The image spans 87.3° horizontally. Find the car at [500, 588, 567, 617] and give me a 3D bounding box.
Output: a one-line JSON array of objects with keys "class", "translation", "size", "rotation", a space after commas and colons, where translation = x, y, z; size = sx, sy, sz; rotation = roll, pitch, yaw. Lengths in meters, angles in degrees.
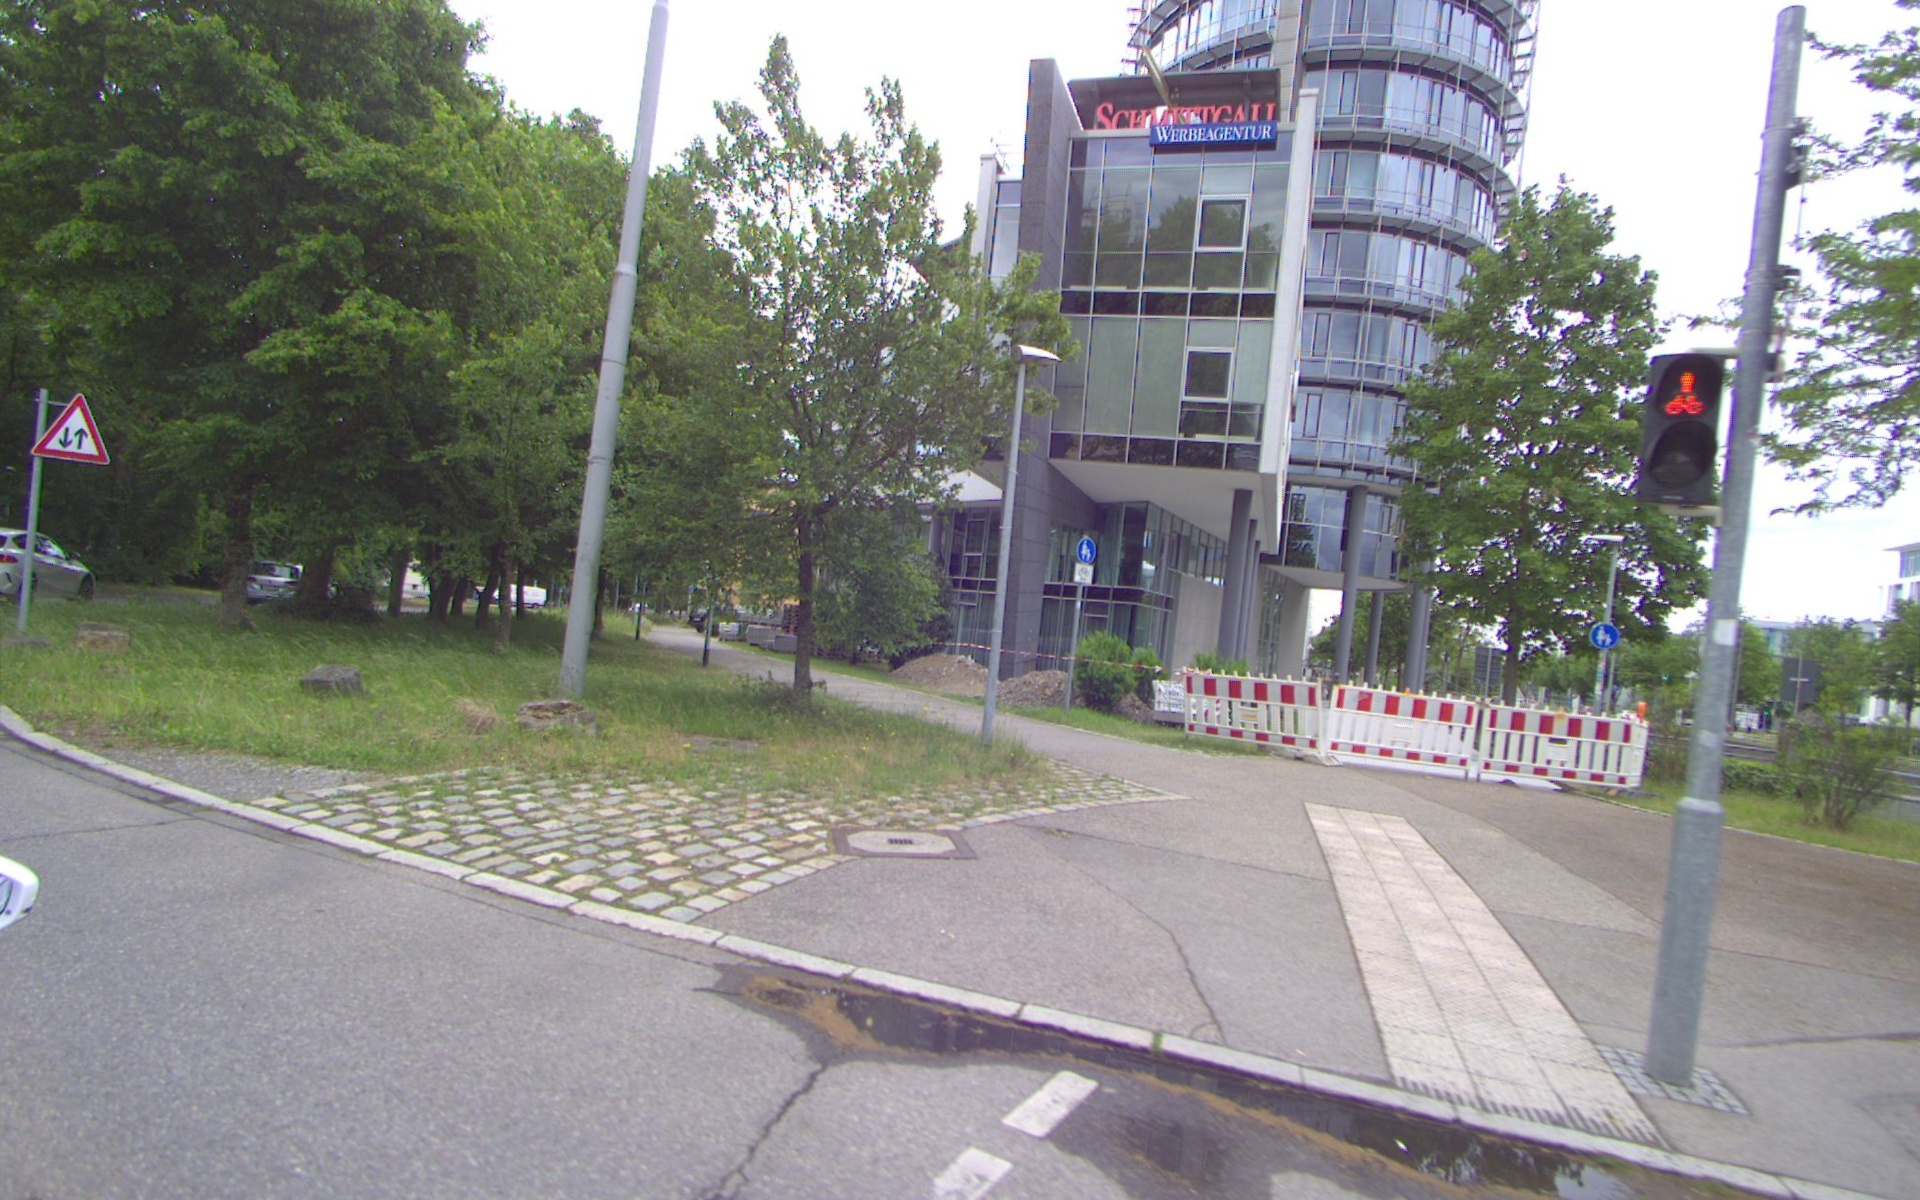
[{"class": "car", "translation": [-50.603, 0.357, 119.574], "size": [2.056, 2.551, 6.952], "rotation": [7, -2, 41]}]

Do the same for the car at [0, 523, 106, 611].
[{"class": "car", "translation": [-18.539, -0.657, 19.514], "size": [1.779, 1.534, 4.186], "rotation": [7, -3, -24]}]

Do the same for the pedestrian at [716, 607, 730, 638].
[{"class": "pedestrian", "translation": [-13.556, 1.279, 57.618], "size": [0.494, 1.749, 0.530], "rotation": [2, 3, -41]}]

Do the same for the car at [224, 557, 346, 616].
[{"class": "car", "translation": [-21.997, -0.388, 32.986], "size": [1.898, 1.592, 3.993], "rotation": [6, -2, -14]}]

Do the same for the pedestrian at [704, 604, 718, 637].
[{"class": "pedestrian", "translation": [-14.127, 1.169, 57.129], "size": [0.471, 1.778, 0.577], "rotation": [2, 3, -41]}]

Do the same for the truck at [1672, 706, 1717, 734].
[{"class": "truck", "translation": [75.527, 12.294, 103.555], "size": [2.517, 2.402, 4.592], "rotation": [7, -3, 23]}]

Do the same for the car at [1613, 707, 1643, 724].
[{"class": "car", "translation": [81.597, 14.088, 122.887], "size": [1.841, 1.692, 3.892], "rotation": [8, -3, 18]}]

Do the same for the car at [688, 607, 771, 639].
[{"class": "car", "translation": [-13.542, 1.400, 59.308], "size": [1.843, 1.534, 4.729], "rotation": [2, -3, 34]}]
